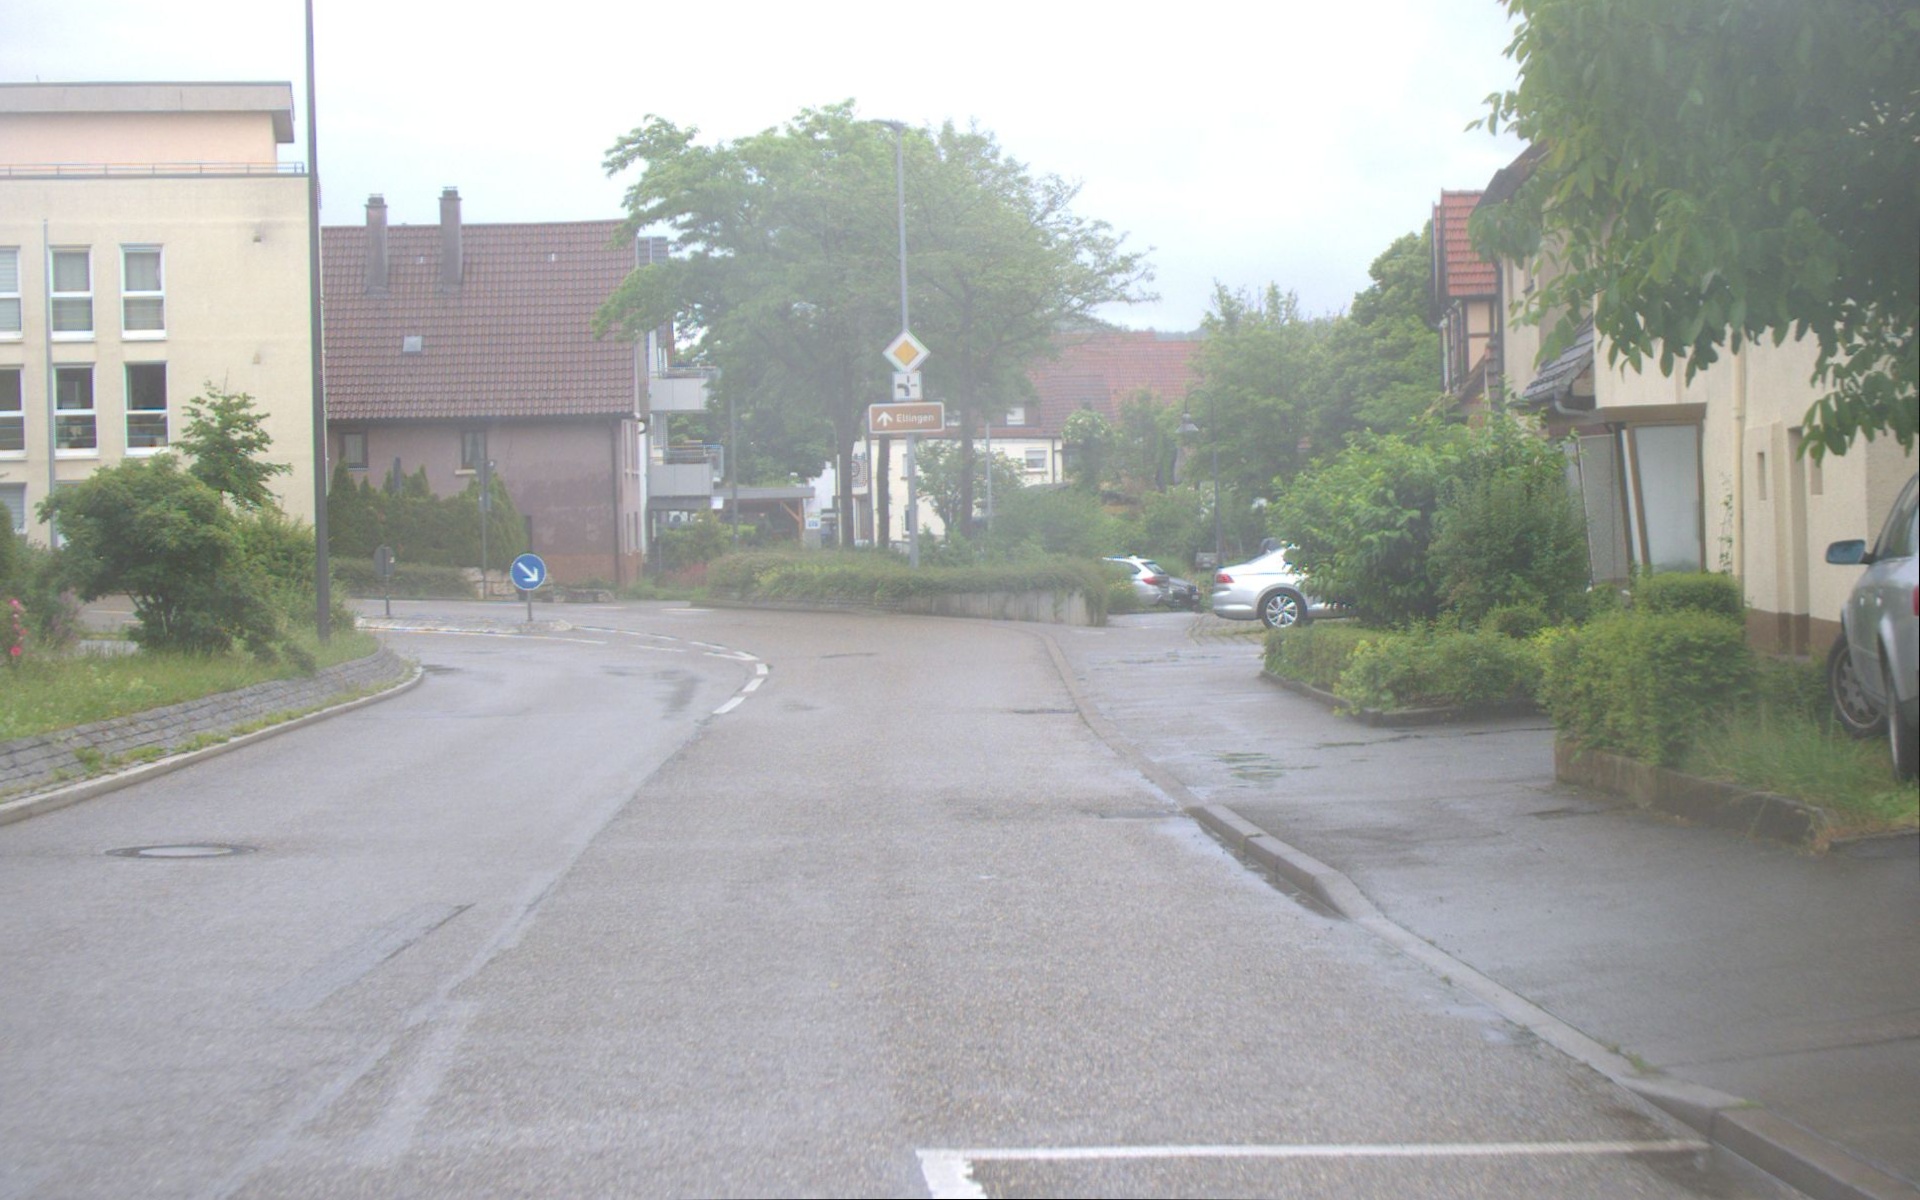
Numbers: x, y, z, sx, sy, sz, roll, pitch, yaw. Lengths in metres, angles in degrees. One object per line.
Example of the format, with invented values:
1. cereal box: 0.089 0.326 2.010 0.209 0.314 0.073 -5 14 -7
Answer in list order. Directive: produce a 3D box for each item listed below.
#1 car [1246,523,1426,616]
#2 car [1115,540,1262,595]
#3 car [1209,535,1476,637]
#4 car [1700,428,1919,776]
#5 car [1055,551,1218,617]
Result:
1. car: 6.458 -0.527 59.020 2.912 1.518 1.390 -1 1 12
2. car: 6.382 -0.918 95.787 3.988 1.415 2.000 -1 1 6
3. car: 5.962 -0.226 53.329 3.955 1.404 1.999 -2 1 10
4. car: 4.684 -0.038 15.758 1.638 1.425 3.677 -1 1 -2
5. car: 4.659 -0.421 90.501 3.989 1.620 1.999 -1 1 12
